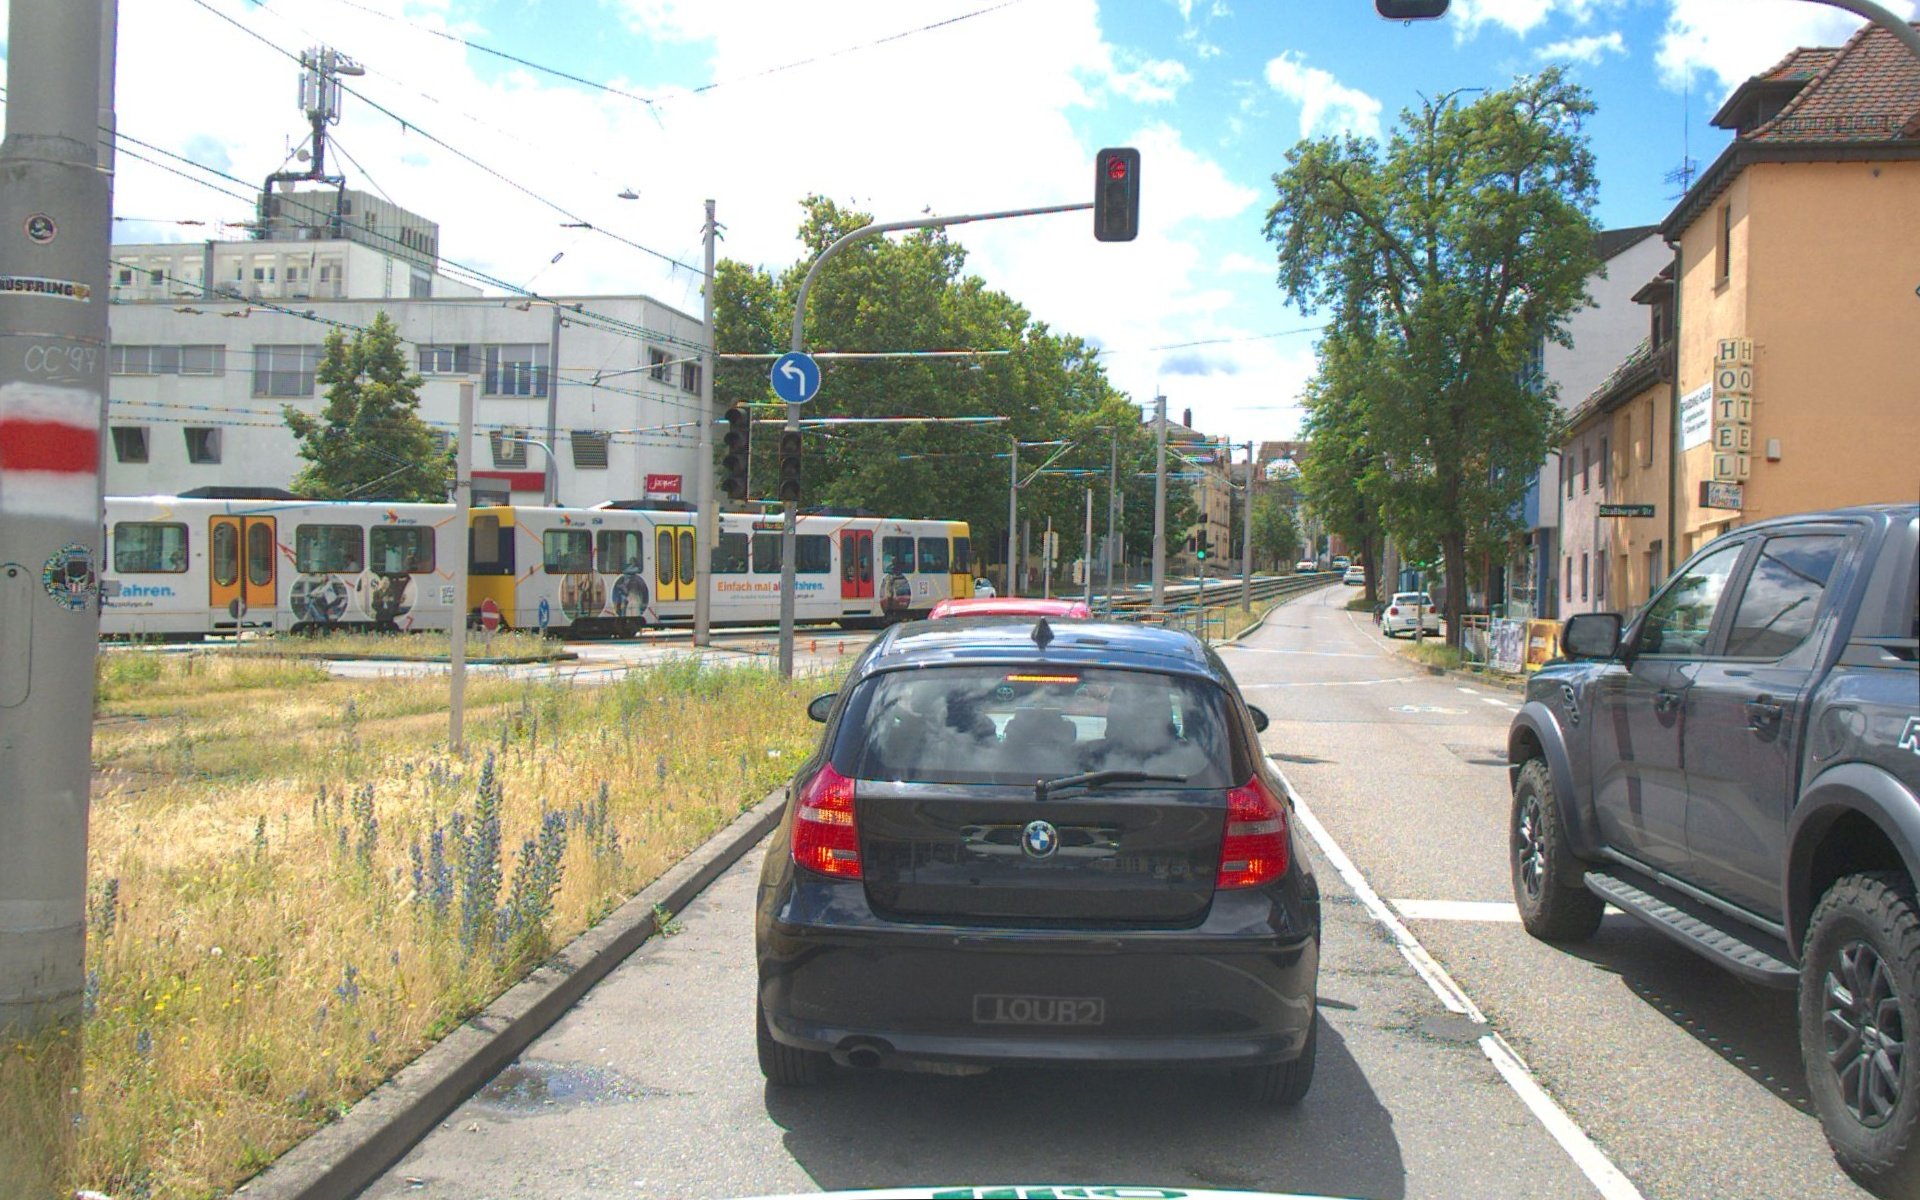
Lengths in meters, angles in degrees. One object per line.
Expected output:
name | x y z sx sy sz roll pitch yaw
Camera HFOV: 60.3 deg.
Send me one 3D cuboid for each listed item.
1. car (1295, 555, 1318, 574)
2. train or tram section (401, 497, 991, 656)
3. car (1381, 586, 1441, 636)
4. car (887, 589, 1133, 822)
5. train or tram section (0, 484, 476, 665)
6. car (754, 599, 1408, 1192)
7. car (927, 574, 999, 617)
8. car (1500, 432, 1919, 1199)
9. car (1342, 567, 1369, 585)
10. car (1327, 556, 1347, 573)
car | 39.494 -4.040 188.617 1.952 2.049 4.000 -1 -1 21
train or tram section | -6.738 -0.507 49.408 3.691 3.881 19.945 -1 -1 40
car | 15.225 0.373 55.995 1.749 1.624 4.003 0 -1 12
car | 0.510 0.704 12.723 1.590 1.499 4.002 0 -1 6
train or tram section | -21.708 -0.532 37.520 20.337 3.947 3.726 0 -1 -29
car | 0.213 0.762 6.204 1.667 1.477 3.997 0 -1 -3
car | 0.165 -0.194 78.008 1.814 1.962 4.798 -1 -1 21
car | 3.473 0.554 5.563 1.957 1.920 5.153 0 -1 4
car | 31.930 -1.927 133.528 1.777 1.494 4.001 0 0 19
car | 47.416 -4.460 207.829 1.952 2.049 4.000 -1 -1 21
